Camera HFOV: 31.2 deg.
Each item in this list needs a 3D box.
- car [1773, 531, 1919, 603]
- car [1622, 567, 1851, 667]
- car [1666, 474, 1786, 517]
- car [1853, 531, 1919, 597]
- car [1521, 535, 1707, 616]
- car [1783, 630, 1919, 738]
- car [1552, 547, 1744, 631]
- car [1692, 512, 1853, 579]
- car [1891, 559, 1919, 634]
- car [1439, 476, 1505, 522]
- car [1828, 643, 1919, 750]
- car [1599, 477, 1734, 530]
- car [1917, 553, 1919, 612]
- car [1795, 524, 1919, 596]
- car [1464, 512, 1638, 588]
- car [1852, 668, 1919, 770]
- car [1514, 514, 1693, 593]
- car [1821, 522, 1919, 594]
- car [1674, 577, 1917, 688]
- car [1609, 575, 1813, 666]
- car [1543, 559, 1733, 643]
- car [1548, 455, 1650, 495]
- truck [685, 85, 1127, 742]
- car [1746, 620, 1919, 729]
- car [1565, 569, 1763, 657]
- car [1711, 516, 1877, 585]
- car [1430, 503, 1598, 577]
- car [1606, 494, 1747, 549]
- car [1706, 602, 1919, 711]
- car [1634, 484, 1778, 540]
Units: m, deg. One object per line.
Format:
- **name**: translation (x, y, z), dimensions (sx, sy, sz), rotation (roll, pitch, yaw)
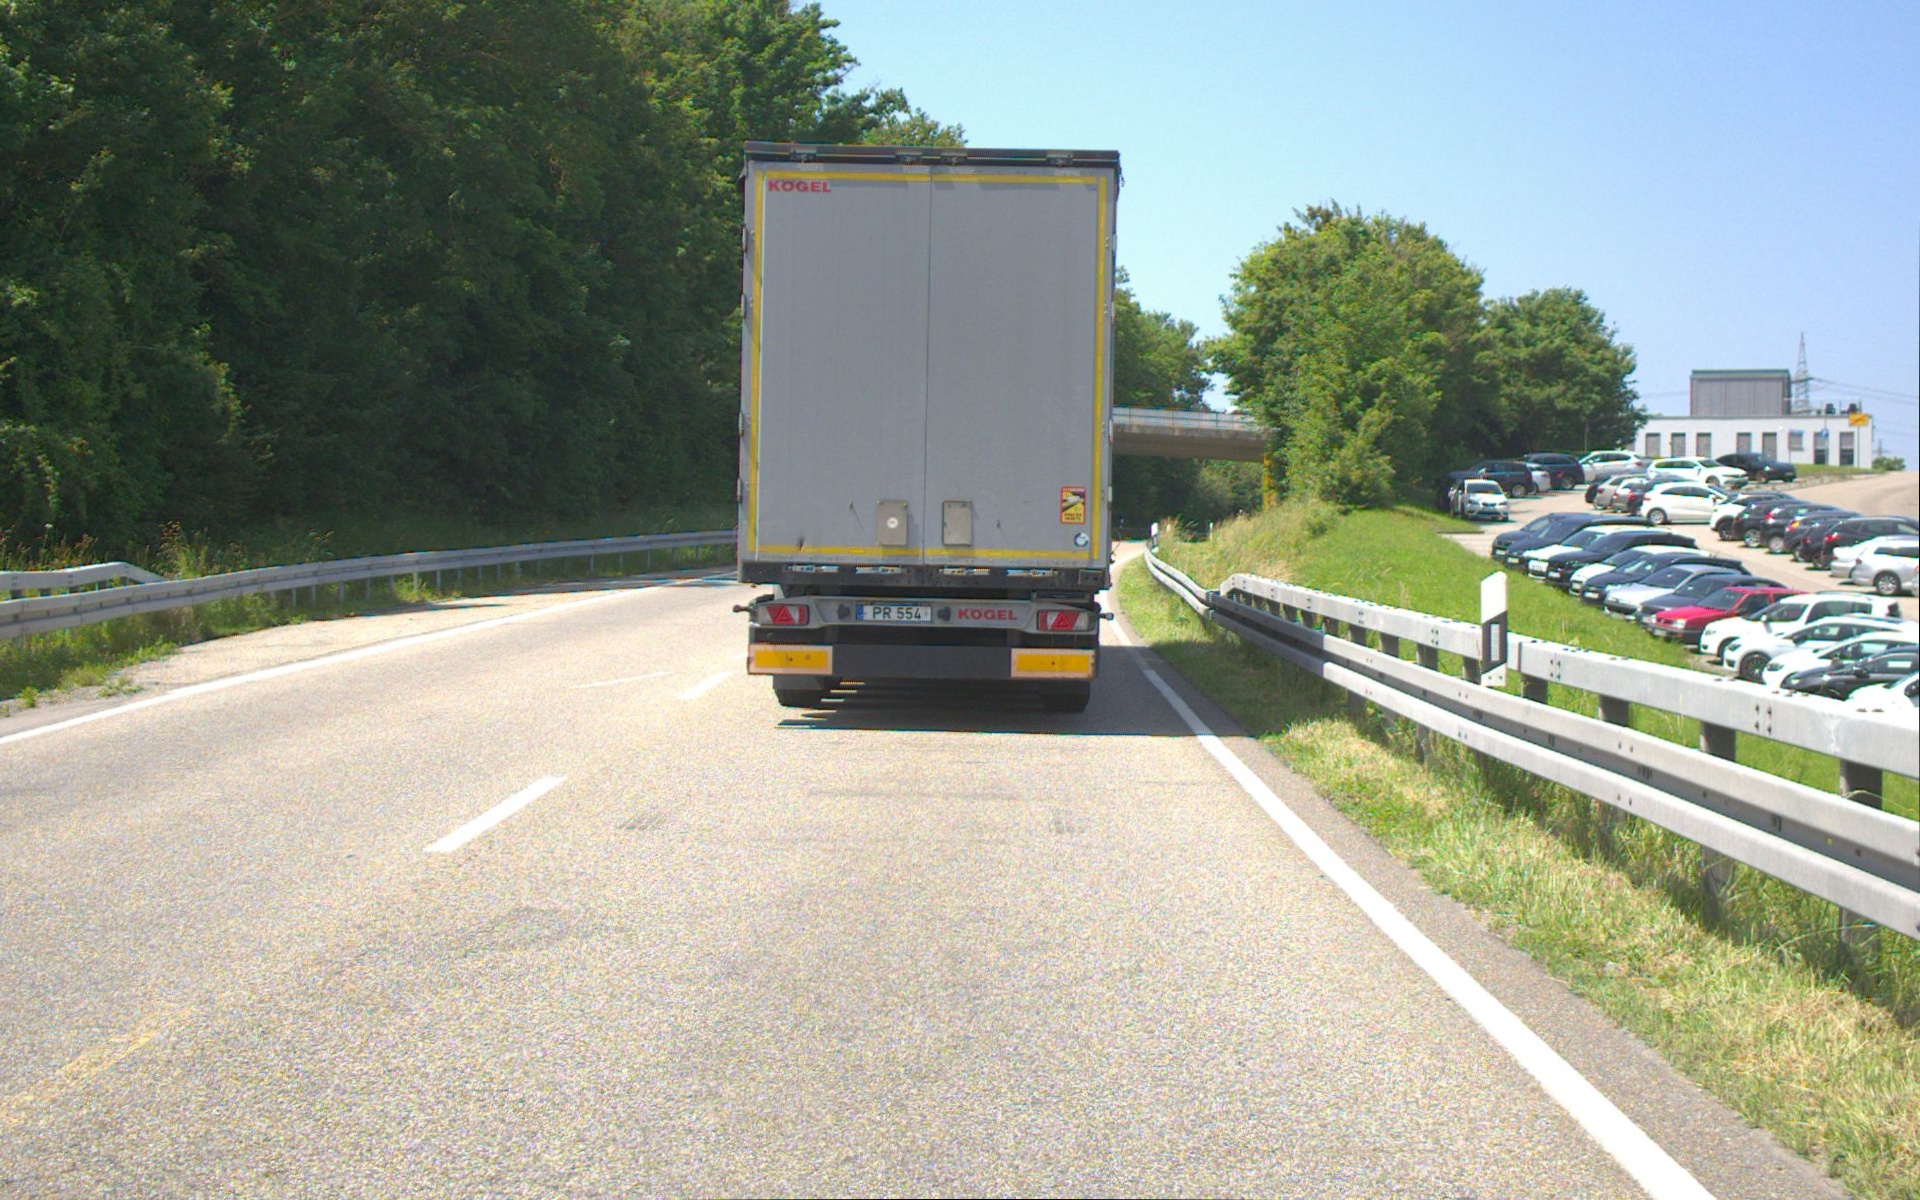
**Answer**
- **car**: translation (26.501, -0.972, 101.160), dimensions (4.580, 1.623, 1.818), rotation (8, 5, 29)
- **car**: translation (16.807, 0.362, 74.438), dimensions (4.361, 1.679, 1.889), rotation (4, 4, -20)
- **car**: translation (32.940, -4.499, 147.868), dimensions (4.582, 1.623, 1.817), rotation (5, 2, 36)
- **car**: translation (25.931, -0.883, 89.935), dimensions (4.580, 1.514, 1.818), rotation (4, 7, 33)
- **car**: translation (17.161, -0.650, 90.174), dimensions (4.362, 1.679, 1.889), rotation (4, 5, -26)
- **car**: translation (17.234, 1.612, 61.654), dimensions (4.370, 1.553, 1.885), rotation (8, 5, 26)
- **car**: translation (17.418, -0.285, 87.053), dimensions (4.362, 1.679, 1.889), rotation (4, 5, -26)
- **car**: translation (26.084, -1.752, 110.415), dimensions (4.580, 1.623, 1.818), rotation (8, 5, 29)
- **car**: translation (25.302, 0.034, 84.055), dimensions (4.579, 1.622, 1.818), rotation (4, 9, 27)
- **car**: translation (18.623, -3.677, 125.175), dimensions (1.624, 1.349, 3.712), rotation (6, 4, -2)
- **car**: translation (17.348, 1.825, 58.903), dimensions (4.370, 1.553, 1.859), rotation (8, 5, 26)
- **car**: translation (26.583, -3.631, 129.349), dimensions (4.578, 1.623, 1.818), rotation (5, 4, 23)
- **car**: translation (26.623, -0.507, 86.533), dimensions (4.578, 1.472, 1.818), rotation (0, 5, 28)
- **car**: translation (26.377, -1.087, 97.893), dimensions (4.580, 1.623, 1.818), rotation (8, 5, 29)
- **car**: translation (16.576, -1.404, 96.431), dimensions (4.362, 1.679, 1.889), rotation (4, 5, -26)
- **car**: translation (16.977, 2.147, 55.899), dimensions (4.370, 1.451, 1.816), rotation (8, 5, 26)
- **car**: translation (17.503, -1.259, 93.506), dimensions (4.362, 1.679, 1.889), rotation (4, 5, -26)
- **car**: translation (25.920, -1.038, 93.131), dimensions (4.580, 1.623, 1.818), rotation (8, 5, 29)
- **car**: translation (17.262, 0.642, 71.062), dimensions (4.452, 1.679, 1.886), rotation (8, 5, 24)
- **car**: translation (16.984, 0.475, 77.701), dimensions (4.363, 1.679, 1.888), rotation (3, 5, -35)
- **car**: translation (16.537, 0.034, 83.825), dimensions (4.363, 1.679, 1.888), rotation (3, 5, -35)
- **car**: translation (30.187, -5.907, 162.449), dimensions (4.362, 1.679, 1.889), rotation (0, 6, -26)
- **truck**: translation (-0.399, -1.413, 27.992), dimensions (2.866, 4.344, 9.790), rotation (1, 2, 0)
- **car**: translation (17.152, 1.437, 64.174), dimensions (4.370, 1.553, 1.885), rotation (8, 5, 26)
- **car**: translation (16.496, 0.307, 80.479), dimensions (4.363, 1.679, 1.888), rotation (3, 5, -35)
- **car**: translation (26.085, -1.573, 107.558), dimensions (4.580, 1.623, 1.818), rotation (8, 5, 29)
- **car**: translation (15.996, -1.733, 99.237), dimensions (4.362, 1.679, 1.889), rotation (4, 5, -26)
- **car**: translation (25.668, -2.824, 123.166), dimensions (4.578, 1.623, 1.818), rotation (5, 4, 23)
- **car**: translation (17.213, 1.090, 67.810), dimensions (4.372, 1.553, 1.885), rotation (8, 5, 31)
- **car**: translation (26.088, -3.086, 120.179), dimensions (4.578, 1.623, 1.818), rotation (5, 3, 23)
